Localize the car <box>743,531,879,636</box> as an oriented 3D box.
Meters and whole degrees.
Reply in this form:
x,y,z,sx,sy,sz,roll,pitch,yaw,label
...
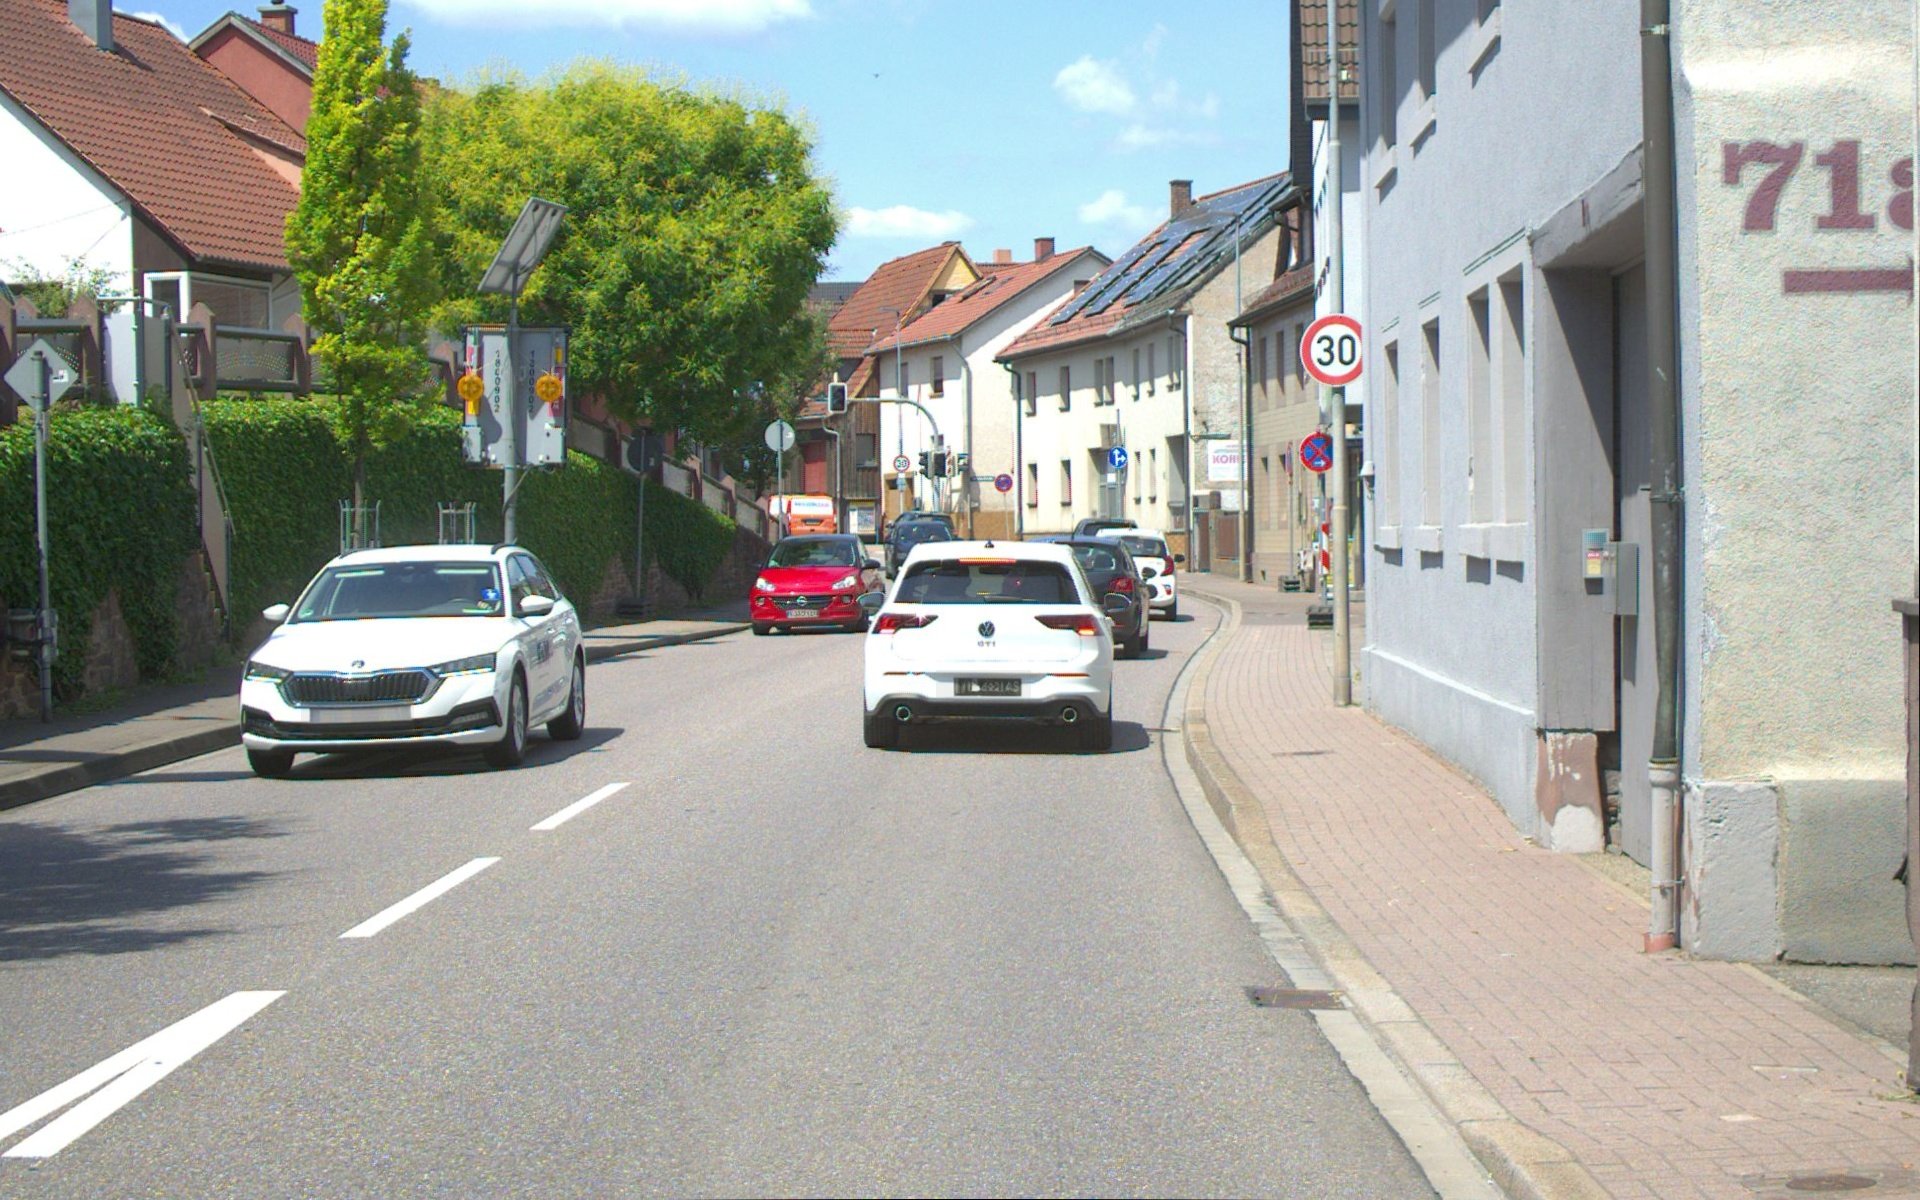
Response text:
x,y,z,sx,sy,sz,roll,pitch,yaw,label
-2.201,-0.274,51.685,1.617,1.439,3.801,-2,1,3,car

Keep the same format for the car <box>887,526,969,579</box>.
x,y,z,sx,sy,sz,roll,pitch,yaw,label
-0.995,-1.455,104.269,1.775,1.533,4.001,-1,1,-11,car

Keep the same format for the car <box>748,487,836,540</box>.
x,y,z,sx,sy,sz,roll,pitch,yaw,label
-5.761,-2.957,117.721,1.775,1.759,4.001,-1,1,-22,car

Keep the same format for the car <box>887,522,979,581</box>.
x,y,z,sx,sy,sz,roll,pitch,yaw,label
-0.626,-1.191,82.865,1.794,1.373,4.116,0,1,5,car

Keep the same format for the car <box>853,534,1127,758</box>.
x,y,z,sx,sy,sz,roll,pitch,yaw,label
0.178,0.278,25.072,1.807,1.462,4.000,1,1,-1,car

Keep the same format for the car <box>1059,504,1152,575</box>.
x,y,z,sx,sy,sz,roll,pitch,yaw,label
3.179,-1.347,75.804,1.775,1.533,4.001,0,1,-2,car

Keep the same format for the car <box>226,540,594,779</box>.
x,y,z,sx,sy,sz,roll,pitch,yaw,label
-3.694,0.337,23.829,1.813,1.442,4.430,-2,1,0,car

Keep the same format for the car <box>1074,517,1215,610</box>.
x,y,z,sx,sy,sz,roll,pitch,yaw,label
3.142,-0.620,57.773,1.808,1.462,3.998,1,1,11,car
